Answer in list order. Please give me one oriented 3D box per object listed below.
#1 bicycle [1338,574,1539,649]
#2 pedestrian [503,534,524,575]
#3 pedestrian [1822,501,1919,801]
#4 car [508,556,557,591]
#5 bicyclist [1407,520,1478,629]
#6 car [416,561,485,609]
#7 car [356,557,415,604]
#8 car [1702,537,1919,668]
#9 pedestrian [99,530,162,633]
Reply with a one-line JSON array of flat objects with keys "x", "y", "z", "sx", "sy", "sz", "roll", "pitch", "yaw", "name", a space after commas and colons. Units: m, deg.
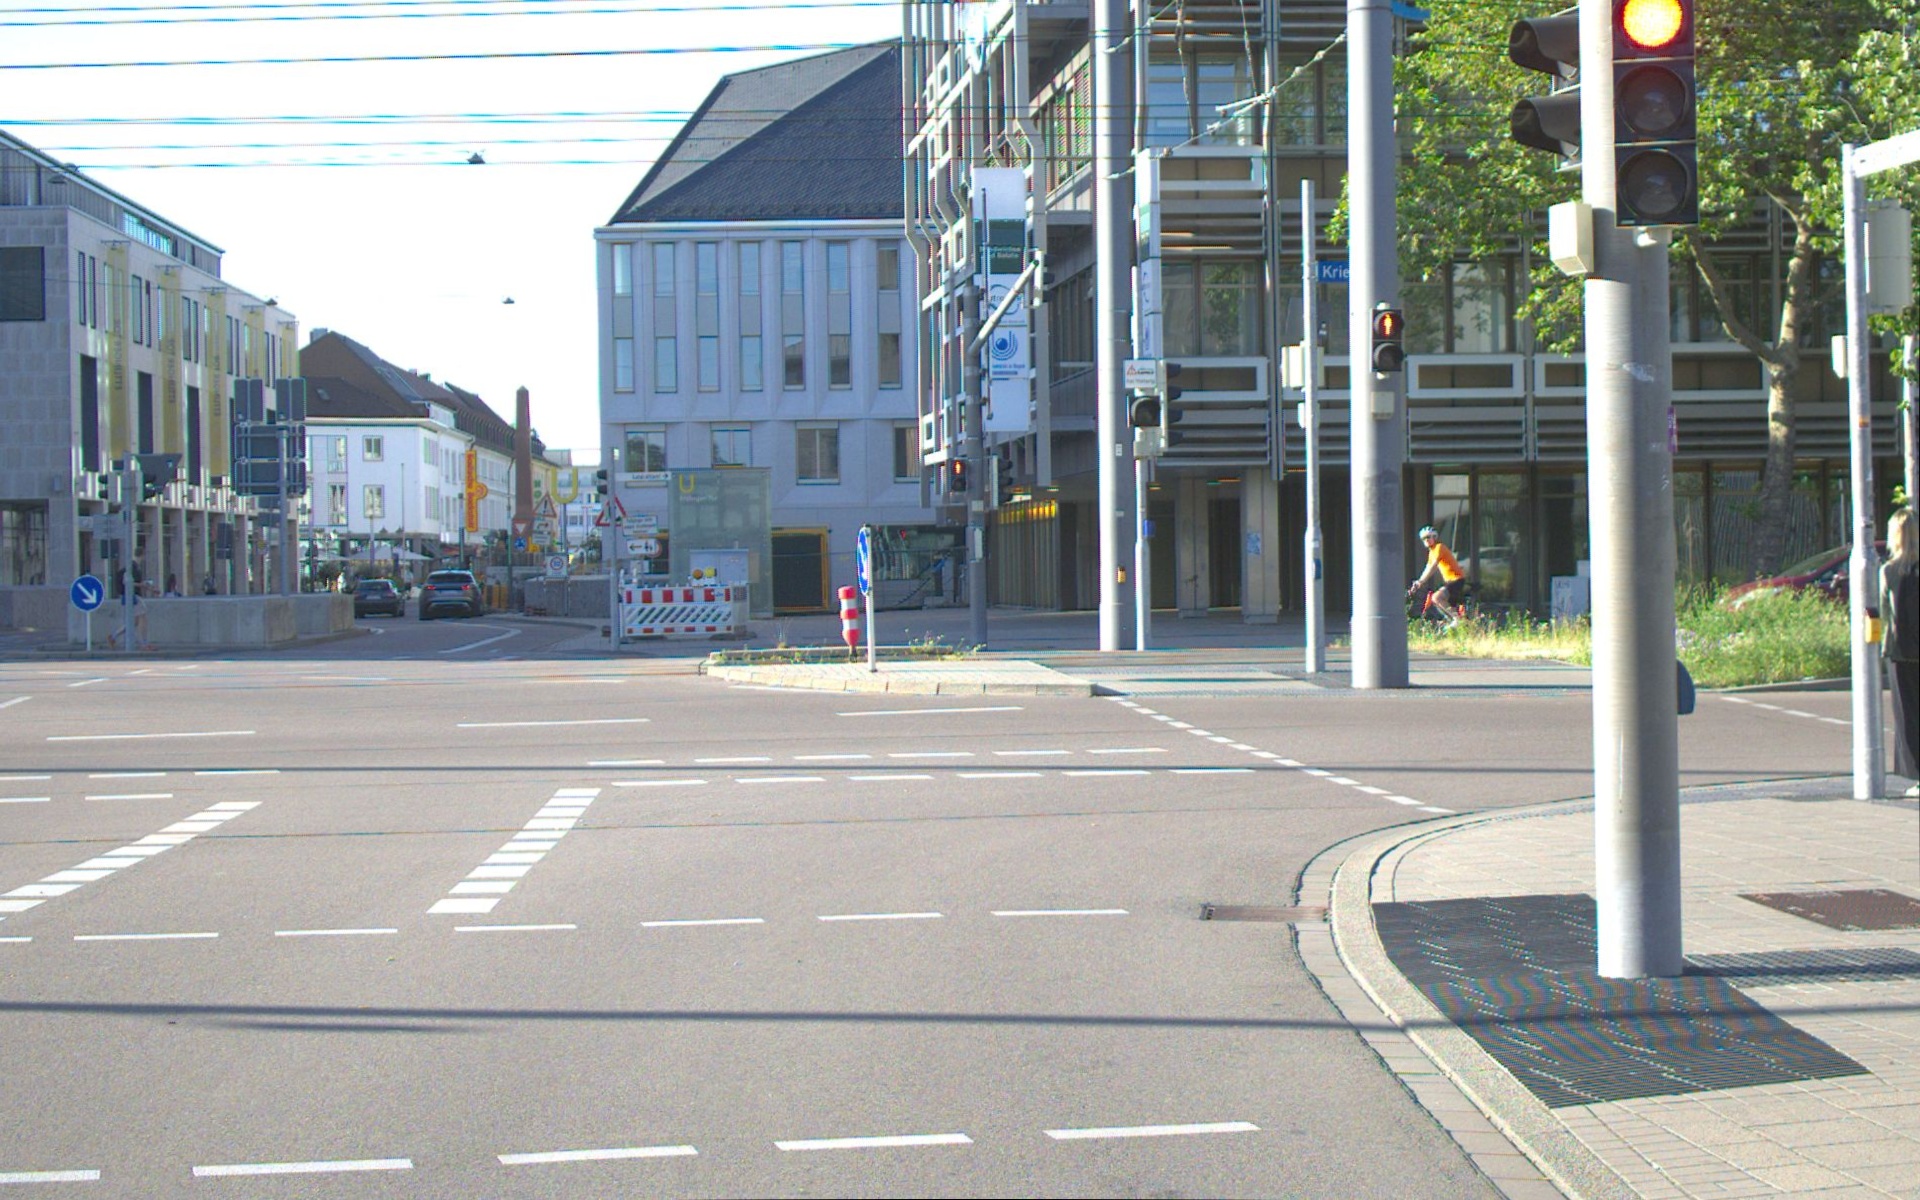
[{"x": 6.551, "y": 0.151, "z": 47.126, "sx": 2.568, "sy": 0.972, "sz": 1.047, "roll": -1, "pitch": 1, "yaw": -3, "name": "bicycle"}, {"x": -21.385, "y": -2.168, "z": 164.691, "sx": 0.910, "sy": 1.958, "sz": 0.823, "roll": 1, "pitch": 0, "yaw": -1, "name": "pedestrian"}, {"x": 5.250, "y": 0.265, "z": 18.909, "sx": 0.765, "sy": 1.608, "sz": 0.874, "roll": -1, "pitch": 1, "yaw": -2, "name": "pedestrian"}, {"x": -18.138, "y": -1.129, "z": 145.994, "sx": 1.658, "sy": 1.453, "sz": 3.542, "roll": -1, "pitch": 1, "yaw": -1, "name": "car"}, {"x": 6.612, "y": -0.357, "z": 47.131, "sx": 0.822, "sy": 1.469, "sz": 0.652, "roll": -1, "pitch": 1, "yaw": -4, "name": "bicyclist"}, {"x": -16.010, "y": -0.487, "z": 108.085, "sx": 1.658, "sy": 1.453, "sz": 3.542, "roll": -1, "pitch": 1, "yaw": -1, "name": "car"}, {"x": -21.269, "y": -0.732, "z": 127.366, "sx": 1.819, "sy": 1.678, "sz": 4.001, "roll": -1, "pitch": 1, "yaw": -5, "name": "car"}, {"x": 12.414, "y": 0.000, "z": 46.425, "sx": 4.287, "sy": 1.678, "sz": 1.826, "roll": -1, "pitch": 1, "yaw": -10, "name": "car"}, {"x": -15.100, "y": -0.342, "z": 62.598, "sx": 0.943, "sy": 1.858, "sz": 0.538, "roll": 0, "pitch": 1, "yaw": 16, "name": "pedestrian"}]
